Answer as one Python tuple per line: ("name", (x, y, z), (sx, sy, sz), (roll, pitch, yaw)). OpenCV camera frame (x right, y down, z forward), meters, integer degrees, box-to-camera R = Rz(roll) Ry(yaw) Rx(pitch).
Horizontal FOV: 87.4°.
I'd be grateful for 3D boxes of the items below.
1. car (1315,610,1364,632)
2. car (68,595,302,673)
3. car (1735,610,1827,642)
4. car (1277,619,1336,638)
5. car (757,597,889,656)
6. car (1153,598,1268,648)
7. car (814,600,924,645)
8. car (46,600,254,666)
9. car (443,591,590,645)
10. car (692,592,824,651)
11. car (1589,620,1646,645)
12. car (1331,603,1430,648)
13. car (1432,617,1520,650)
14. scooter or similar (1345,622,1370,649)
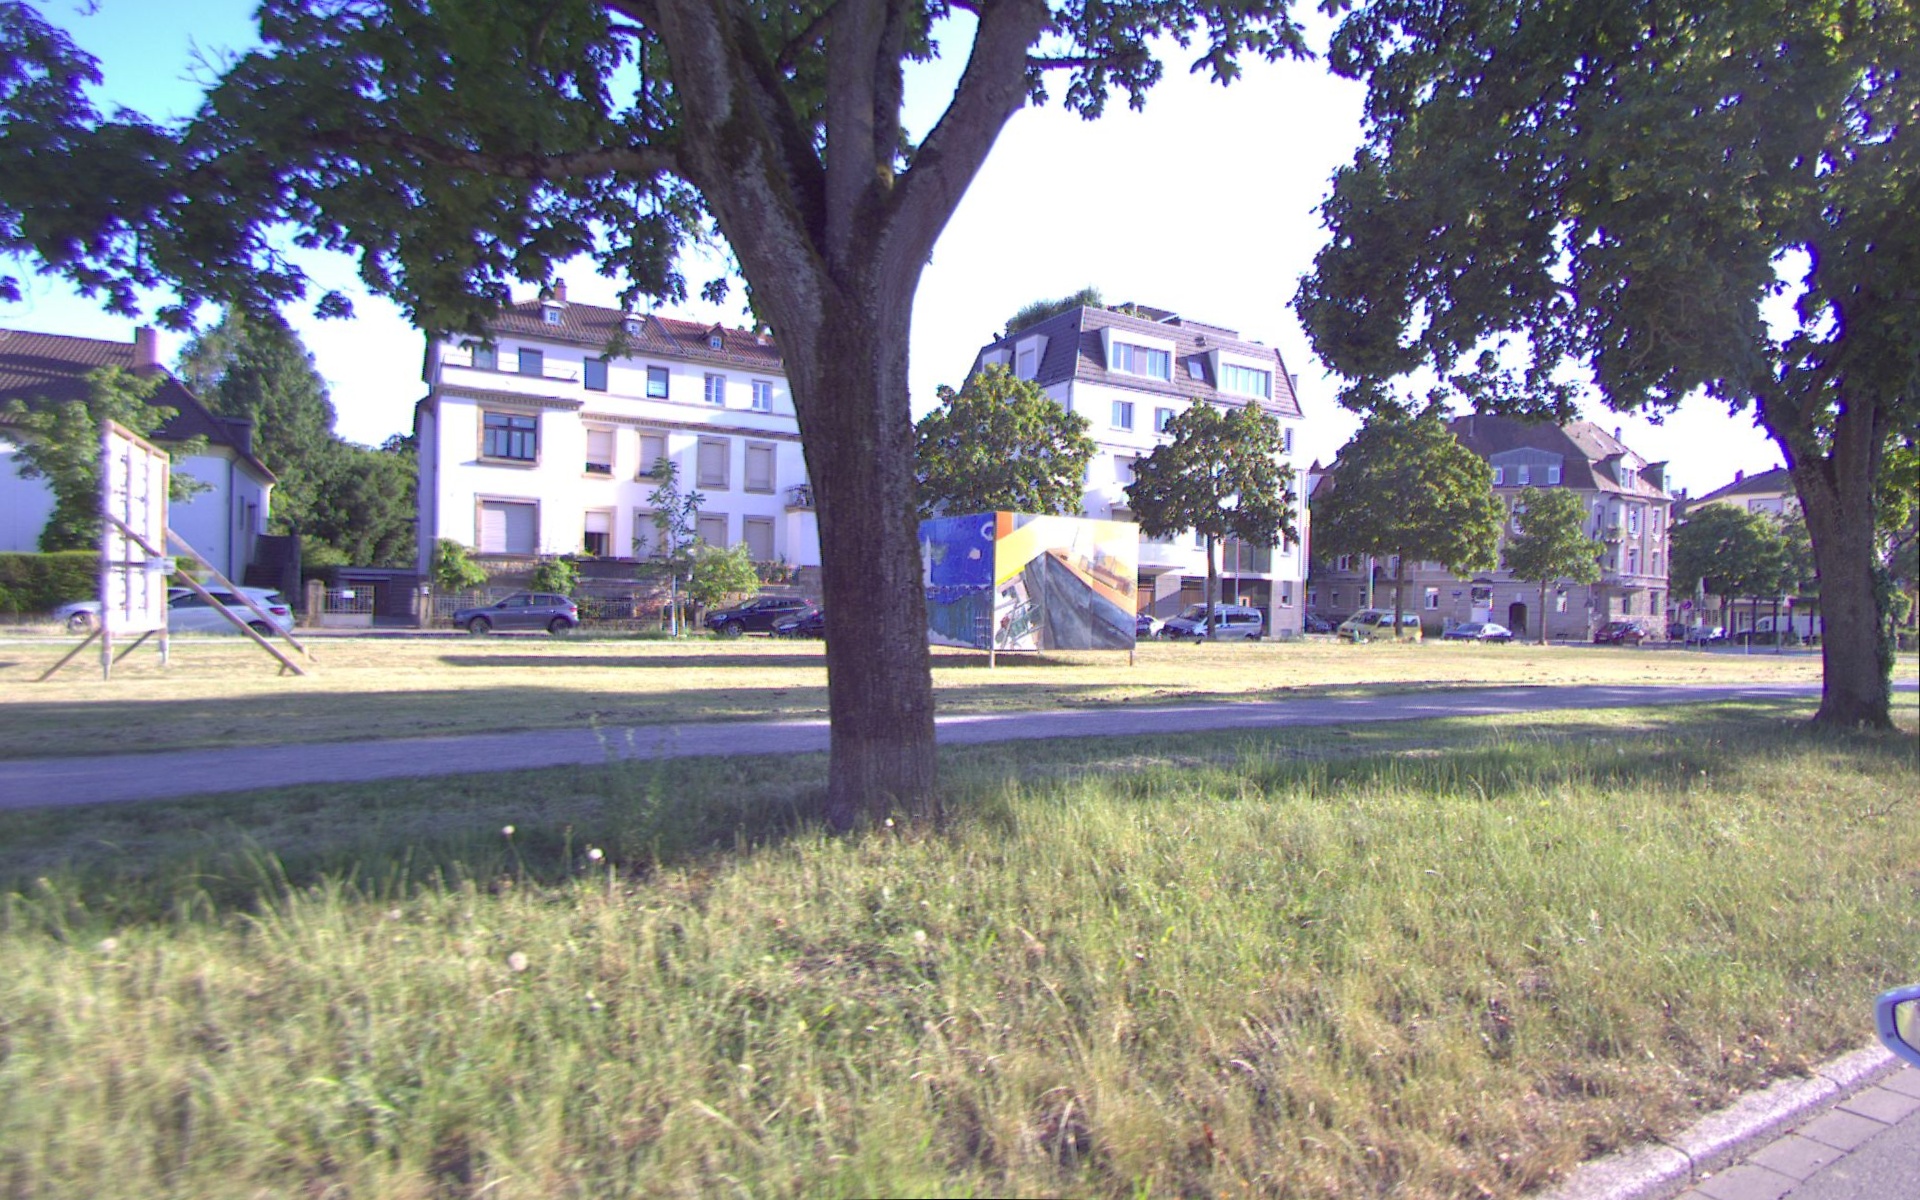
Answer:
("car", (31.446, 1.747, 83.211), (3.920, 1.739, 1.592), (2, 0, -28))
("car", (-20.346, 0.971, 26.667), (4.586, 1.924, 1.826), (2, -4, -29))
("car", (75.062, 2.344, 91.966), (6.203, 2.756, 1.999), (1, 0, 31))
("car", (25.447, 2.090, 73.900), (1.674, 1.235, 3.969), (1, -1, -29))
("car", (-4.861, 1.004, 35.787), (4.277, 1.941, 1.881), (3, -4, -30))
("car", (11.329, 1.103, 45.279), (5.315, 2.027, 2.007), (3, -4, -33))
("car", (-3.896, 1.022, 43.179), (4.406, 1.766, 1.814), (2, -4, -29))
("car", (-24.614, 1.080, 30.790), (4.659, 1.878, 1.722), (3, -4, -30))
("car", (-15.802, 0.706, 35.868), (4.612, 1.724, 1.774), (3, -4, -30))
("car", (-8.174, 0.926, 40.782), (4.795, 2.158, 2.229), (2, -4, -29))
("car", (47.569, 2.377, 72.708), (4.241, 1.729, 1.637), (2, -4, -29))
("car", (21.297, 1.353, 50.877), (4.992, 2.084, 1.985), (3, -4, -30))
("car", (28.433, 1.887, 55.337), (4.768, 1.658, 1.976), (2, -4, -28))
("scooter or similar", (17.235, 1.553, 43.539), (1.285, 1.142, 0.389), (2, 1, -38))
